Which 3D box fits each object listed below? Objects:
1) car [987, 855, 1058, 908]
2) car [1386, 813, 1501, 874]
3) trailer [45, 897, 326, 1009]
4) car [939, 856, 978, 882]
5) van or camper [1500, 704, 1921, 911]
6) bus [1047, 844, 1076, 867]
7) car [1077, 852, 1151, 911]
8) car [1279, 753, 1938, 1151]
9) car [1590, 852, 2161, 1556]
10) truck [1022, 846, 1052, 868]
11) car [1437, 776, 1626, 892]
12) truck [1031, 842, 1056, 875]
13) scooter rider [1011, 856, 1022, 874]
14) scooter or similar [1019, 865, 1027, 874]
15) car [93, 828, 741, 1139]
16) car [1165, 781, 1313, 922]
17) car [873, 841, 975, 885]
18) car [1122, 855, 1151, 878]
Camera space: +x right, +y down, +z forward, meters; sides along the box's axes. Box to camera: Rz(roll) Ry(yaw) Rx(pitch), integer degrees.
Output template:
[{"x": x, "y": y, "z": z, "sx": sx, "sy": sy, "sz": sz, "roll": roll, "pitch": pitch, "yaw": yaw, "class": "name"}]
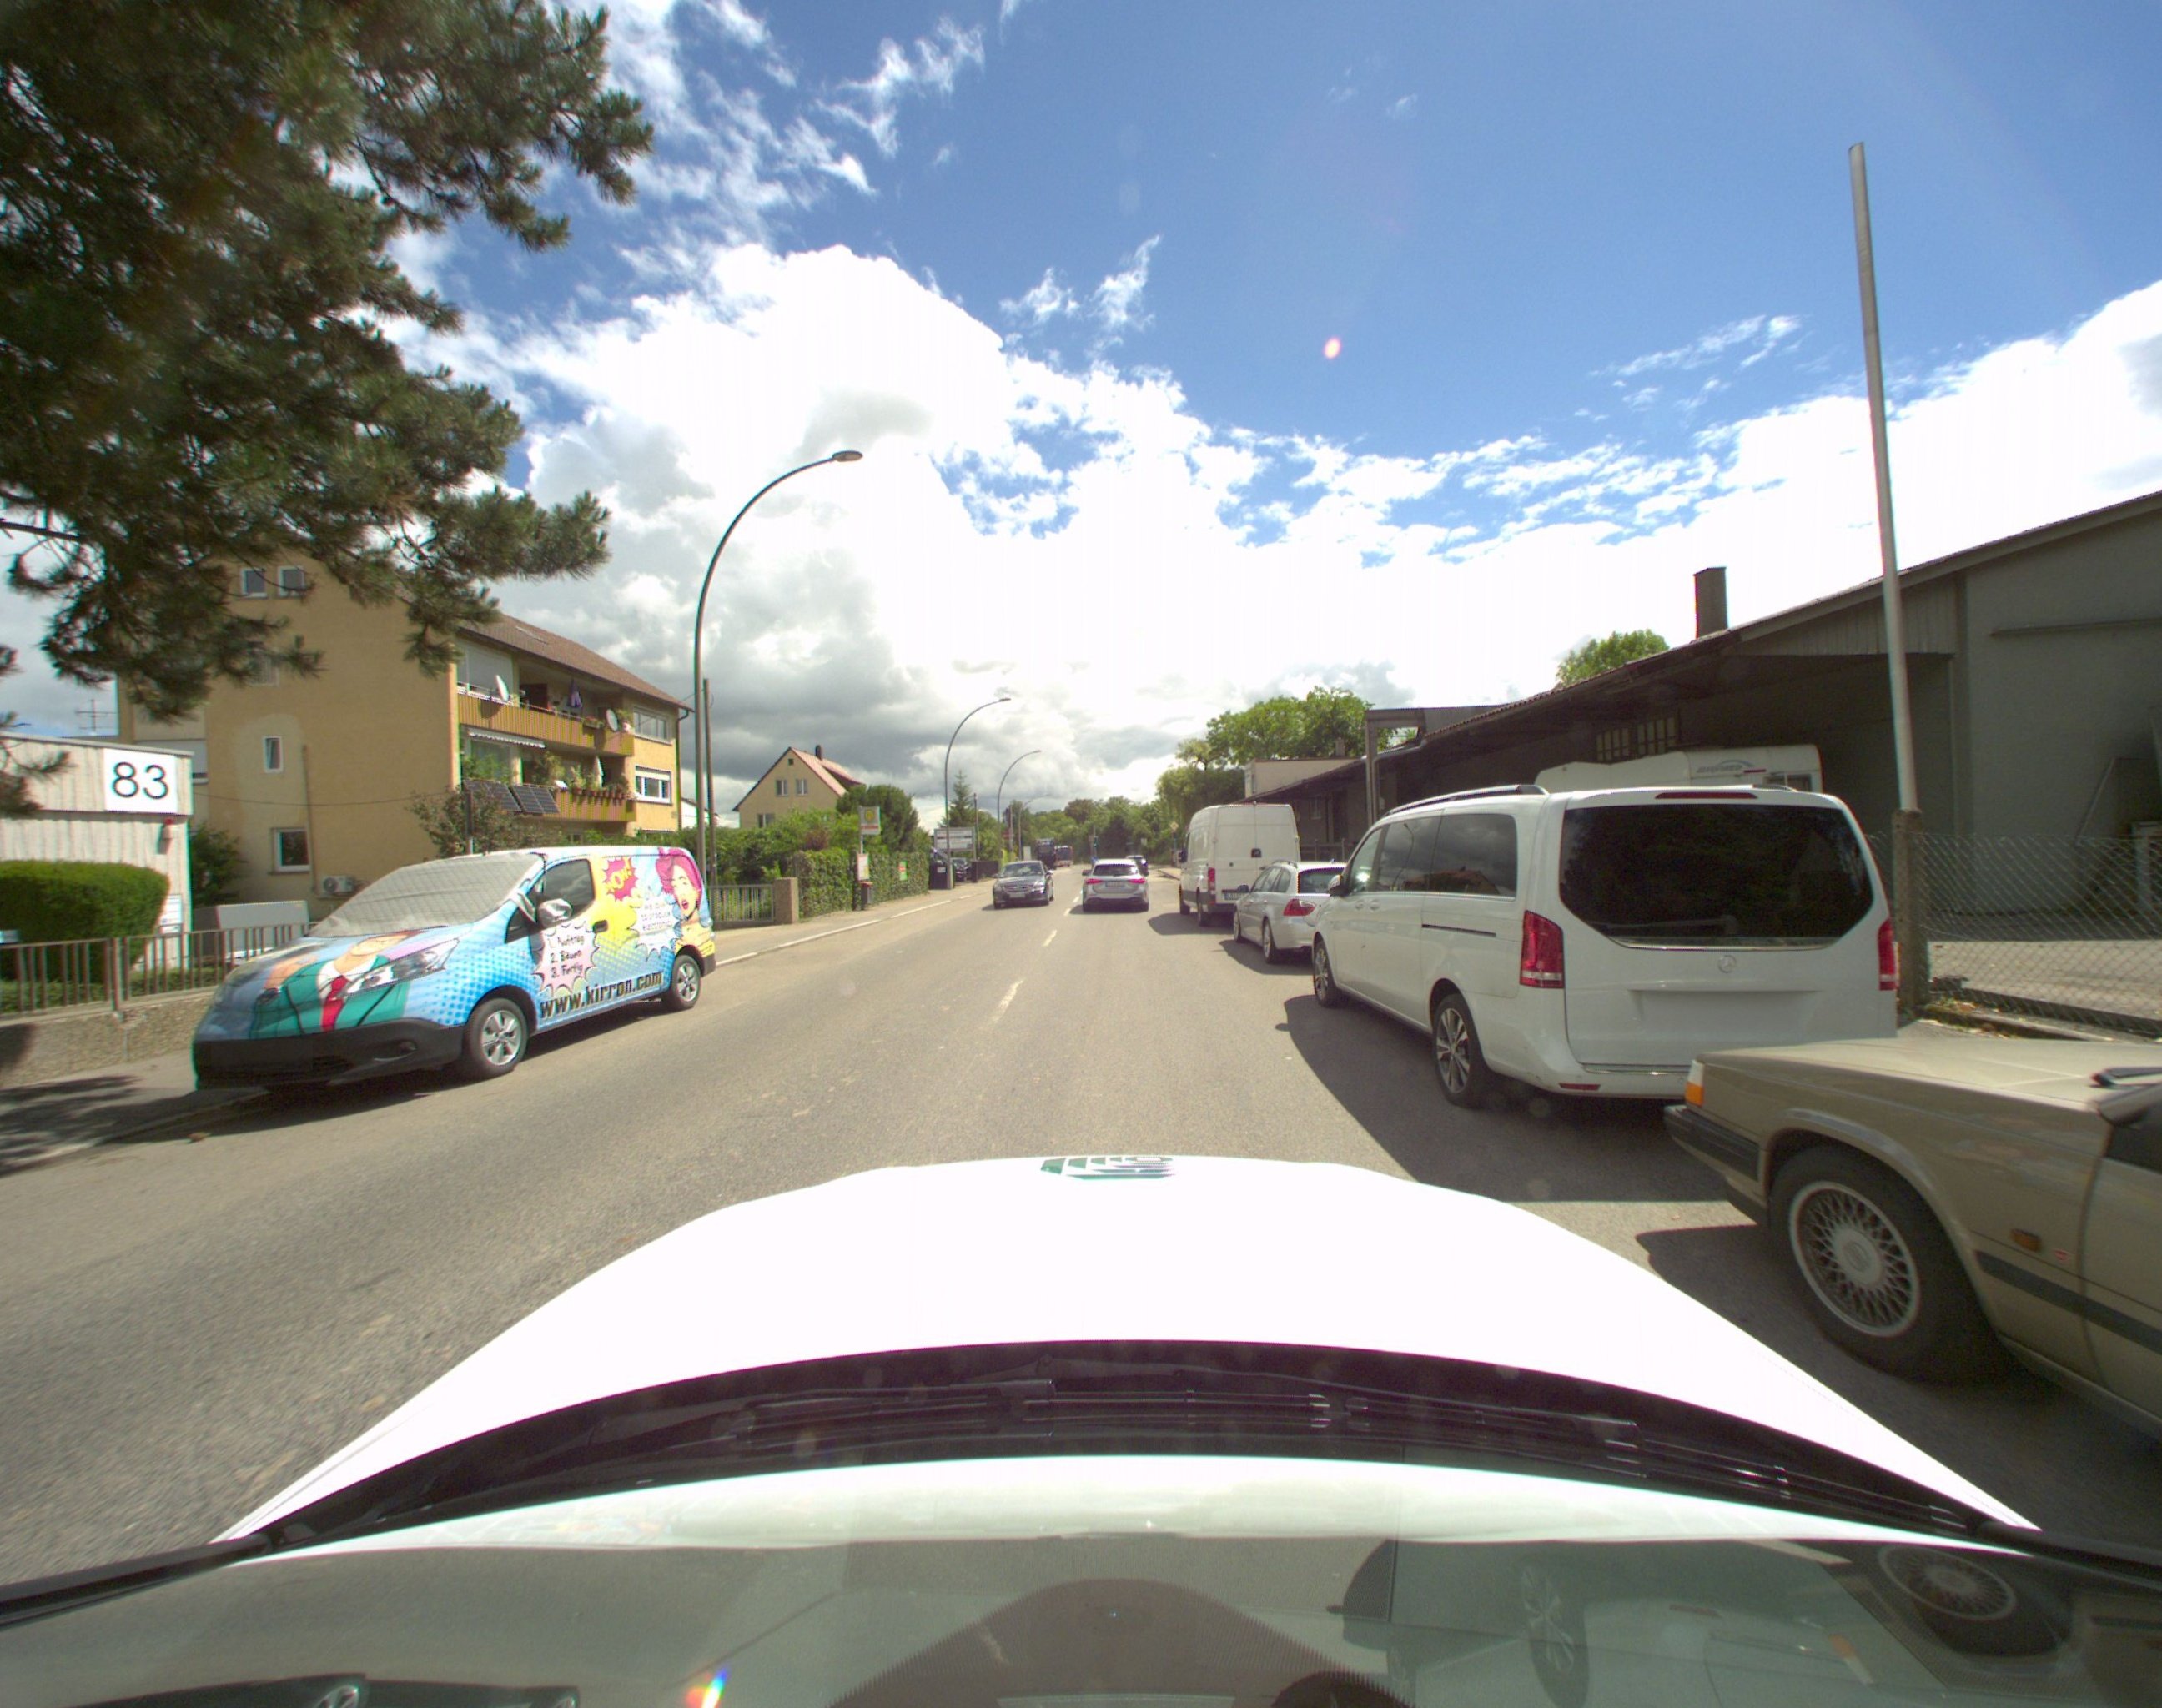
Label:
[{"x": -1.848, "y": 0.855, "z": 27.092, "sx": 1.894, "sy": 1.518, "sz": 4.319, "roll": -3, "pitch": 0, "yaw": 1, "class": "car"}, {"x": 12.664, "y": -0.371, "z": 28.815, "sx": 1.986, "sy": 1.910, "sz": 4.855, "roll": -2, "pitch": 0, "yaw": 2, "class": "car"}, {"x": -22.041, "y": 2.373, "z": 20.245, "sx": 3.976, "sy": 1.884, "sz": 2.459, "roll": -9, "pitch": 0, "yaw": 0, "class": "trailer"}, {"x": -8.463, "y": 1.017, "z": 56.752, "sx": 2.025, "sy": 1.595, "sz": 4.283, "roll": -3, "pitch": 0, "yaw": -1, "class": "car"}, {"x": 11.432, "y": -0.704, "z": 15.955, "sx": 2.871, "sy": 3.061, "sz": 6.914, "roll": -2, "pitch": 0, "yaw": 1, "class": "van or camper"}, {"x": -3.121, "y": 0.322, "z": 126.266, "sx": 2.777, "sy": 3.266, "sz": 12.082, "roll": -3, "pitch": 0, "yaw": -9, "class": "bus"}, {"x": 0.945, "y": 0.730, "z": 23.405, "sx": 1.877, "sy": 1.508, "sz": 4.002, "roll": -2, "pitch": 0, "yaw": 2, "class": "car"}, {"x": 3.175, "y": 0.467, "z": 6.584, "sx": 1.898, "sy": 1.885, "sz": 5.390, "roll": 0, "pitch": 0, "yaw": 1, "class": "car"}, {"x": 3.082, "y": 0.721, "z": 1.180, "sx": 1.748, "sy": 1.450, "sz": 4.997, "roll": 0, "pitch": 0, "yaw": 2, "class": "car"}, {"x": -7.954, "y": 0.569, "z": 145.373, "sx": 2.848, "sy": 3.541, "sz": 9.664, "roll": -2, "pitch": 0, "yaw": -18, "class": "truck"}, {"x": 11.843, "y": -0.522, "z": 21.977, "sx": 2.011, "sy": 2.681, "sz": 5.498, "roll": -2, "pitch": 1, "yaw": 0, "class": "car"}, {"x": -4.941, "y": 0.615, "z": 106.491, "sx": 2.428, "sy": 4.131, "sz": 9.123, "roll": 0, "pitch": -1, "yaw": -8, "class": "truck"}, {"x": -5.836, "y": 1.006, "z": 73.858, "sx": 0.875, "sy": 1.589, "sz": 0.796, "roll": -2, "pitch": 0, "yaw": 2, "class": "scooter rider"}, {"x": -5.213, "y": 1.385, "z": 73.445, "sx": 0.609, "sy": 0.831, "sz": 0.659, "roll": -1, "pitch": 0, "yaw": 2, "class": "scooter or similar"}, {"x": -5.321, "y": 0.813, "z": 7.715, "sx": 1.826, "sy": 1.853, "sz": 4.898, "roll": -5, "pitch": 0, "yaw": 2, "class": "car"}, {"x": 3.465, "y": -0.040, "z": 19.422, "sx": 2.207, "sy": 2.689, "sz": 6.658, "roll": -3, "pitch": 0, "yaw": 1, "class": "car"}, {"x": -10.116, "y": 0.573, "z": 52.828, "sx": 6.014, "sy": 2.496, "sz": 2.478, "roll": -3, "pitch": 0, "yaw": 1, "class": "car"}, {"x": 3.848, "y": 0.857, "z": 57.030, "sx": 1.877, "sy": 1.508, "sz": 4.002, "roll": -2, "pitch": 0, "yaw": 2, "class": "car"}]
